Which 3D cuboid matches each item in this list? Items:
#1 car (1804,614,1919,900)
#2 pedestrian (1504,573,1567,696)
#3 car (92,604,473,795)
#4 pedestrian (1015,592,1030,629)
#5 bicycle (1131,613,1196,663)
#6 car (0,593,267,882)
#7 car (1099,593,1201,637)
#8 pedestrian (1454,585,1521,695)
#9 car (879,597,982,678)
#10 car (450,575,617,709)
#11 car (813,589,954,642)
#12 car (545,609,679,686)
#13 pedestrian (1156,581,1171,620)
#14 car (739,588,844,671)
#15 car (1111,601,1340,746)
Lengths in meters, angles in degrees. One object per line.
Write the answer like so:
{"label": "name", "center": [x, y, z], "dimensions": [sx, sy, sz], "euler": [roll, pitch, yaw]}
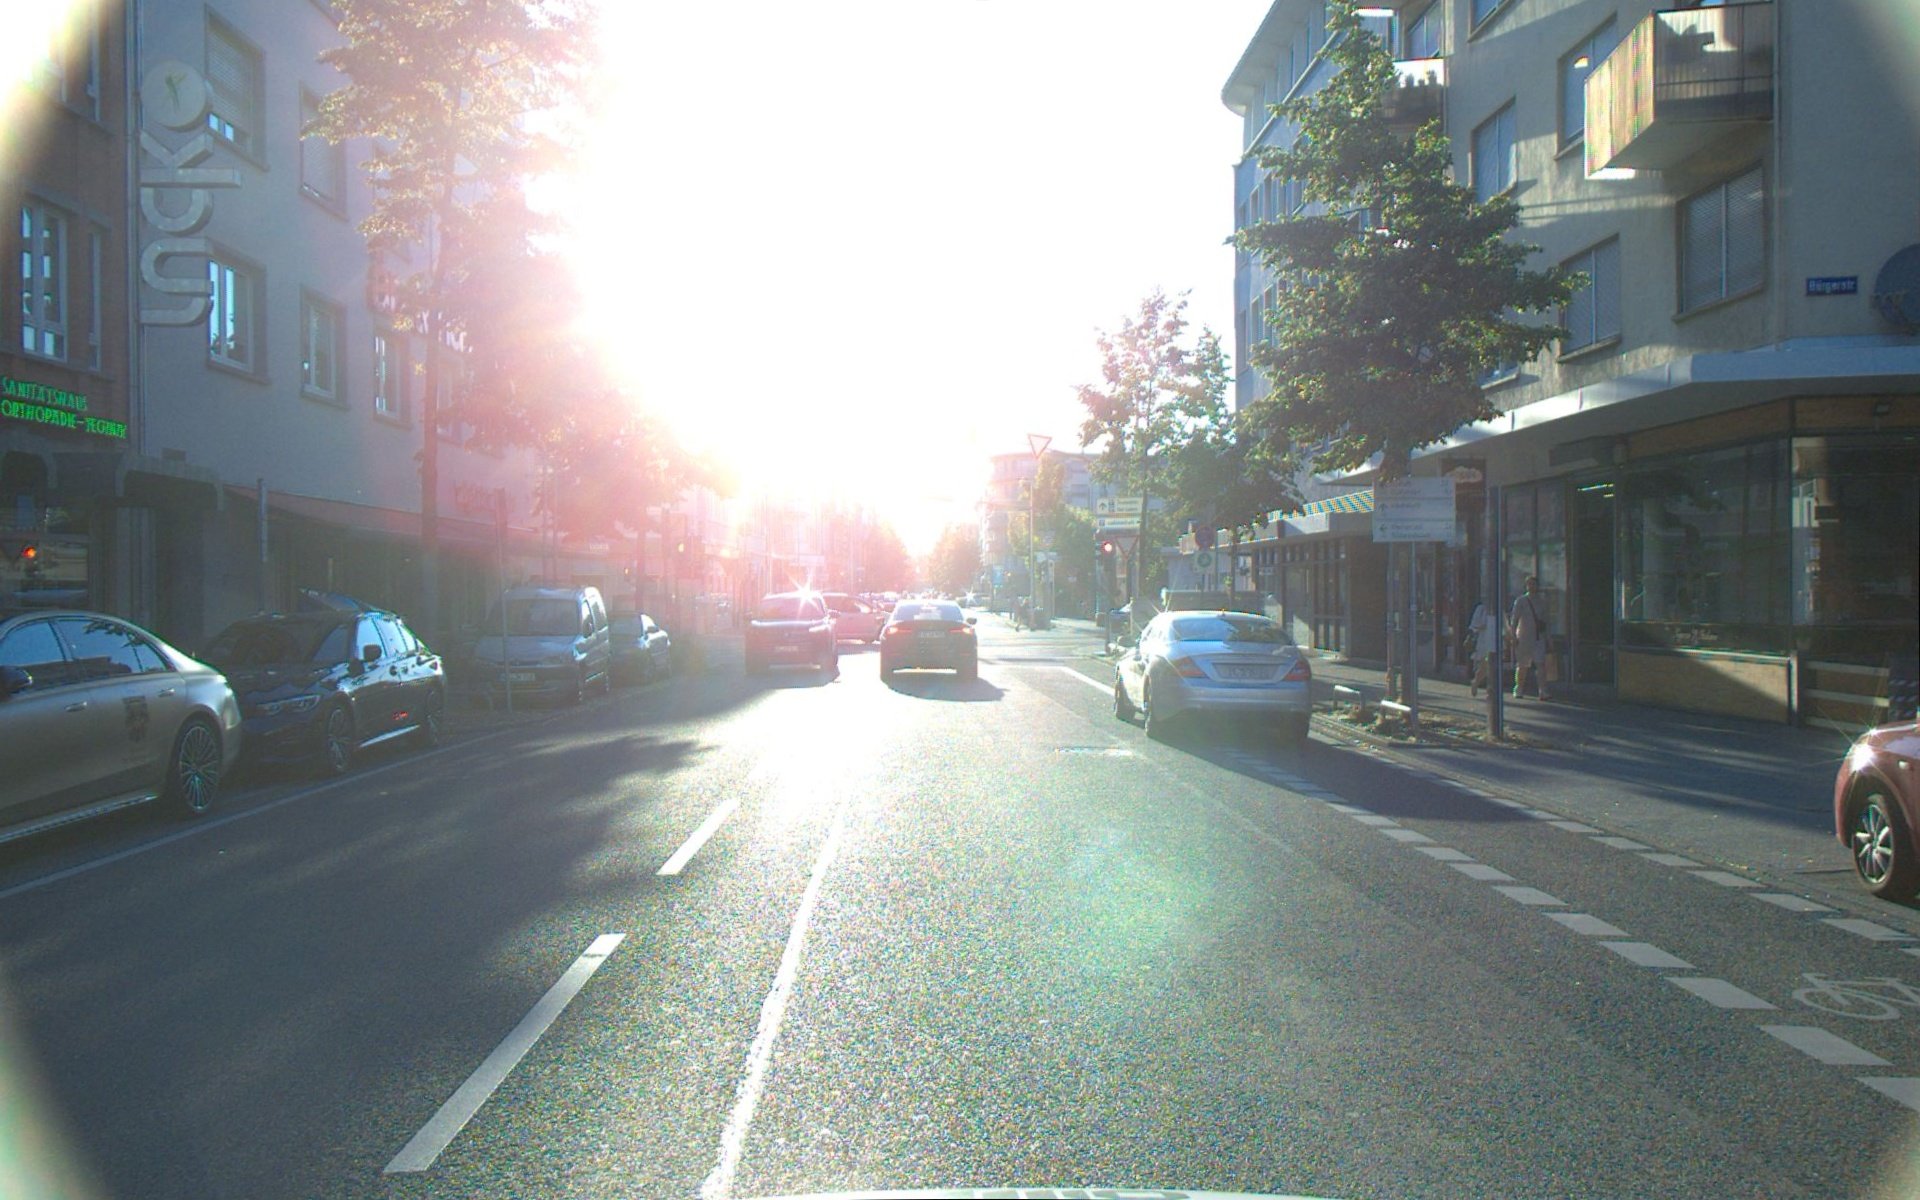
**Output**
{"label": "car", "center": [5.808, 0.816, 7.734], "dimensions": [1.668, 1.461, 3.931], "euler": [-1, 0, -1]}
{"label": "pedestrian", "center": [8.372, 0.490, 24.090], "dimensions": [0.673, 1.752, 0.717], "euler": [-1, 0, 5]}
{"label": "car", "center": [-6.231, 0.824, 15.861], "dimensions": [1.790, 1.464, 4.552], "euler": [-3, 0, -1]}
{"label": "pedestrian", "center": [2.893, 0.468, 76.529], "dimensions": [0.566, 1.673, 0.524], "euler": [0, 1, -22]}
{"label": "bicycle", "center": [4.909, 0.918, 39.973], "dimensions": [1.507, 1.165, 0.381], "euler": [1, 1, 0]}
{"label": "car", "center": [-6.237, 0.793, 10.125], "dimensions": [1.790, 1.583, 5.135], "euler": [-2, 0, 0]}
{"label": "car", "center": [6.759, 0.518, 58.983], "dimensions": [3.299, 1.451, 1.560], "euler": [-1, 1, -23]}
{"label": "pedestrian", "center": [7.732, 0.575, 24.265], "dimensions": [0.674, 1.586, 0.862], "euler": [0, 0, -2]}
{"label": "car", "center": [-0.559, 0.670, 31.968], "dimensions": [1.845, 1.440, 4.324], "euler": [0, 0, -1]}
{"label": "car", "center": [-6.473, 0.593, 25.519], "dimensions": [1.797, 1.887, 4.120], "euler": [0, 0, -4]}
{"label": "car", "center": [-2.507, 0.484, 54.387], "dimensions": [4.259, 1.630, 1.912], "euler": [-1, 1, -27]}
{"label": "car", "center": [-6.511, 0.855, 31.343], "dimensions": [1.796, 1.351, 4.122], "euler": [0, 0, -2]}
{"label": "pedestrian", "center": [9.281, 0.015, 75.449], "dimensions": [0.488, 1.745, 0.459], "euler": [0, 1, -21]}
{"label": "car", "center": [-3.581, 0.583, 35.864], "dimensions": [1.883, 1.630, 4.325], "euler": [0, 1, -1]}
{"label": "car", "center": [2.994, 0.773, 19.617], "dimensions": [1.883, 1.439, 4.547], "euler": [2, 0, -1]}
